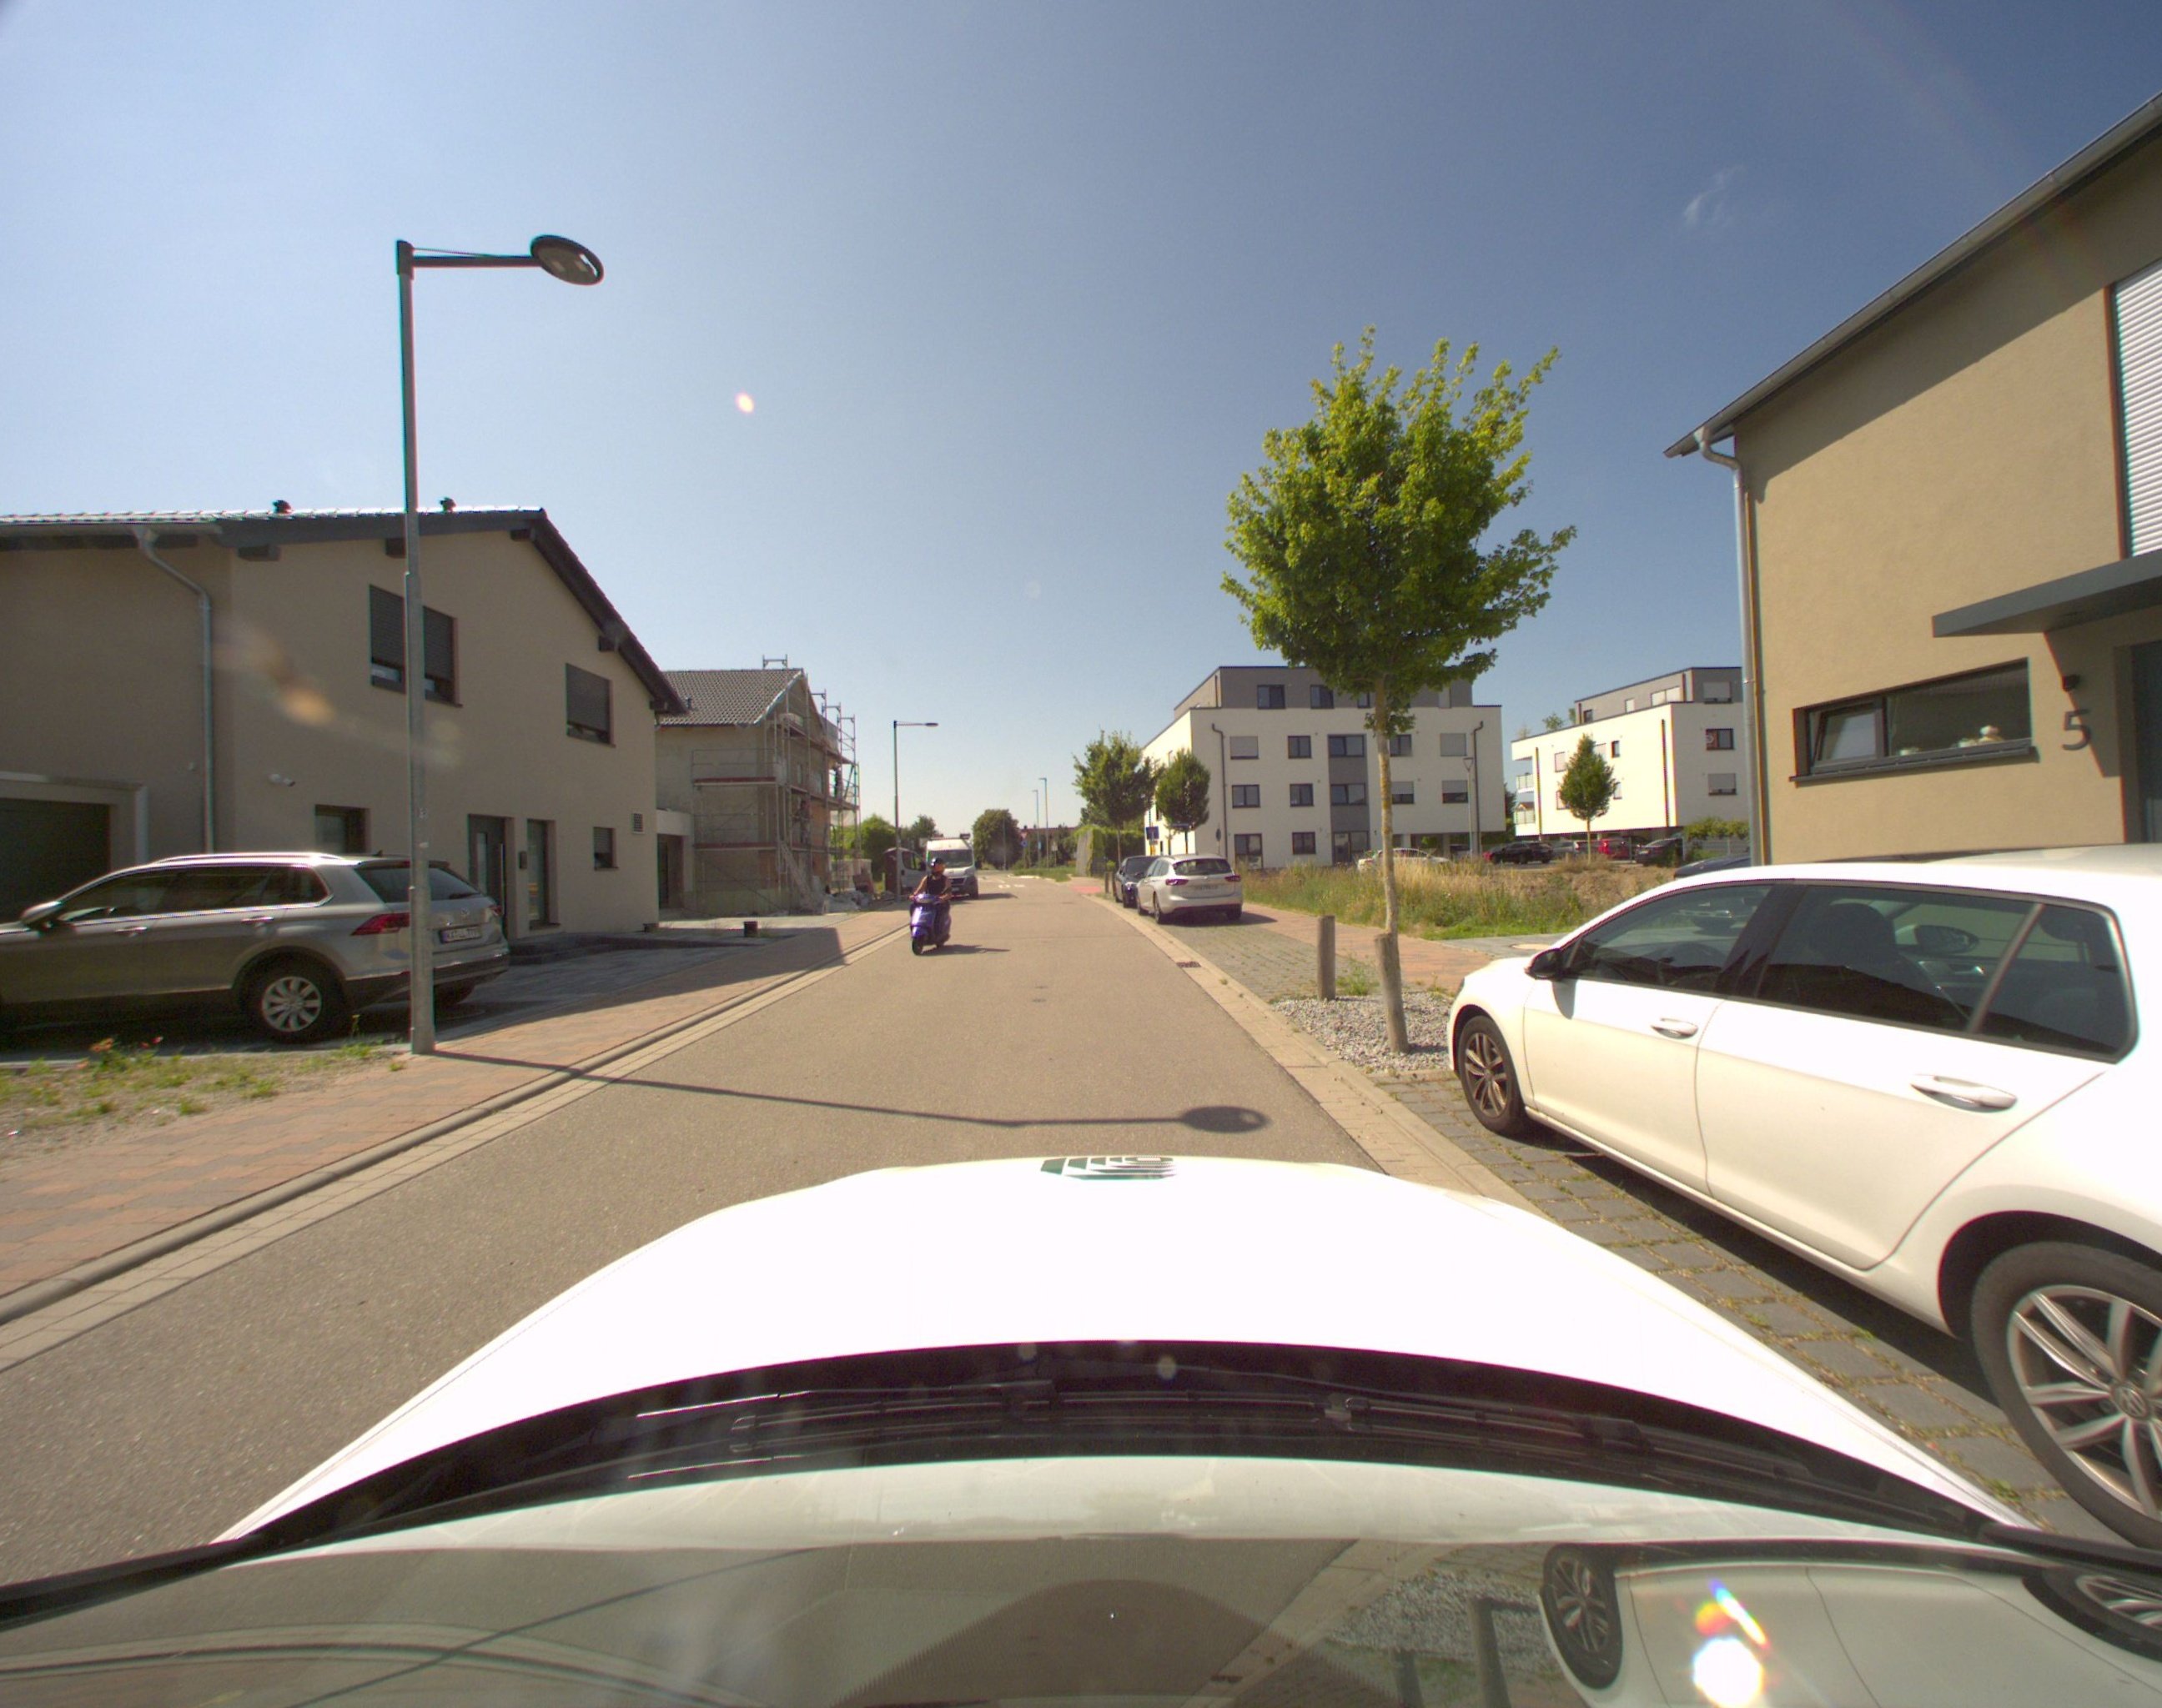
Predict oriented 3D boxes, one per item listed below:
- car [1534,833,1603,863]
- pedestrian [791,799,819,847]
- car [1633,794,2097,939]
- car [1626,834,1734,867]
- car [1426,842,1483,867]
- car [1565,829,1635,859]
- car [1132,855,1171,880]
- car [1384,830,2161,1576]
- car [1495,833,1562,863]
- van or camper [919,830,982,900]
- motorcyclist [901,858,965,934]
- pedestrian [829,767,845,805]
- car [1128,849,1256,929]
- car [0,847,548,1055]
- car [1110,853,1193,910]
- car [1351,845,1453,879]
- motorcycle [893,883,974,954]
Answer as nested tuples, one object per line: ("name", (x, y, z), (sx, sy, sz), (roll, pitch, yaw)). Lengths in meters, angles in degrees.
("car", (32.630, -0.357, 54.645), (1.873, 1.810, 4.164), (-2, -1, -4))
("pedestrian", (-9.848, -1.096, 29.065), (0.571, 1.680, 0.753), (-5, -4, 44))
("car", (10.889, 0.175, 11.569), (4.734, 1.644, 1.998), (-3, -1, -3))
("car", (30.080, -0.157, 40.958), (4.152, 1.478, 1.879), (-2, -2, -6))
("car", (24.902, 0.038, 54.482), (1.873, 1.503, 3.672), (-2, -1, -4))
("car", (35.192, -0.655, 55.363), (1.873, 1.810, 4.164), (-2, -1, -4))
("car", (4.445, 0.815, 51.887), (1.675, 1.469, 4.107), (-1, 0, -6))
("car", (2.990, 0.674, 3.260), (1.774, 1.426, 4.512), (-3, 0, -1))
("car", (29.741, -0.377, 54.263), (1.873, 1.810, 4.164), (-2, -1, -4))
("van or camper", (-5.444, 0.469, 33.869), (2.273, 2.553, 6.345), (-2, -1, -10))
("motorcyclist", (-2.532, 0.711, 14.017), (0.922, 1.223, 0.803), (-2, 0, -1))
("pedestrian", (-10.479, -2.914, 34.967), (0.562, 1.500, 0.745), (-2, -3, -13))
("car", (2.425, 0.710, 19.233), (1.914, 1.511, 5.287), (-3, 0, -4))
("car", (-8.099, 0.838, 7.894), (4.416, 1.612, 1.997), (-2, 0, -4))
("car", (2.057, 0.759, 25.283), (1.913, 1.469, 5.136), (-3, 0, -2))
("car", (15.400, 0.410, 39.234), (4.152, 1.436, 1.879), (-2, -1, -6))
("motorcycle", (-2.521, 1.075, 14.249), (0.953, 1.035, 2.435), (-2, 0, -1))
